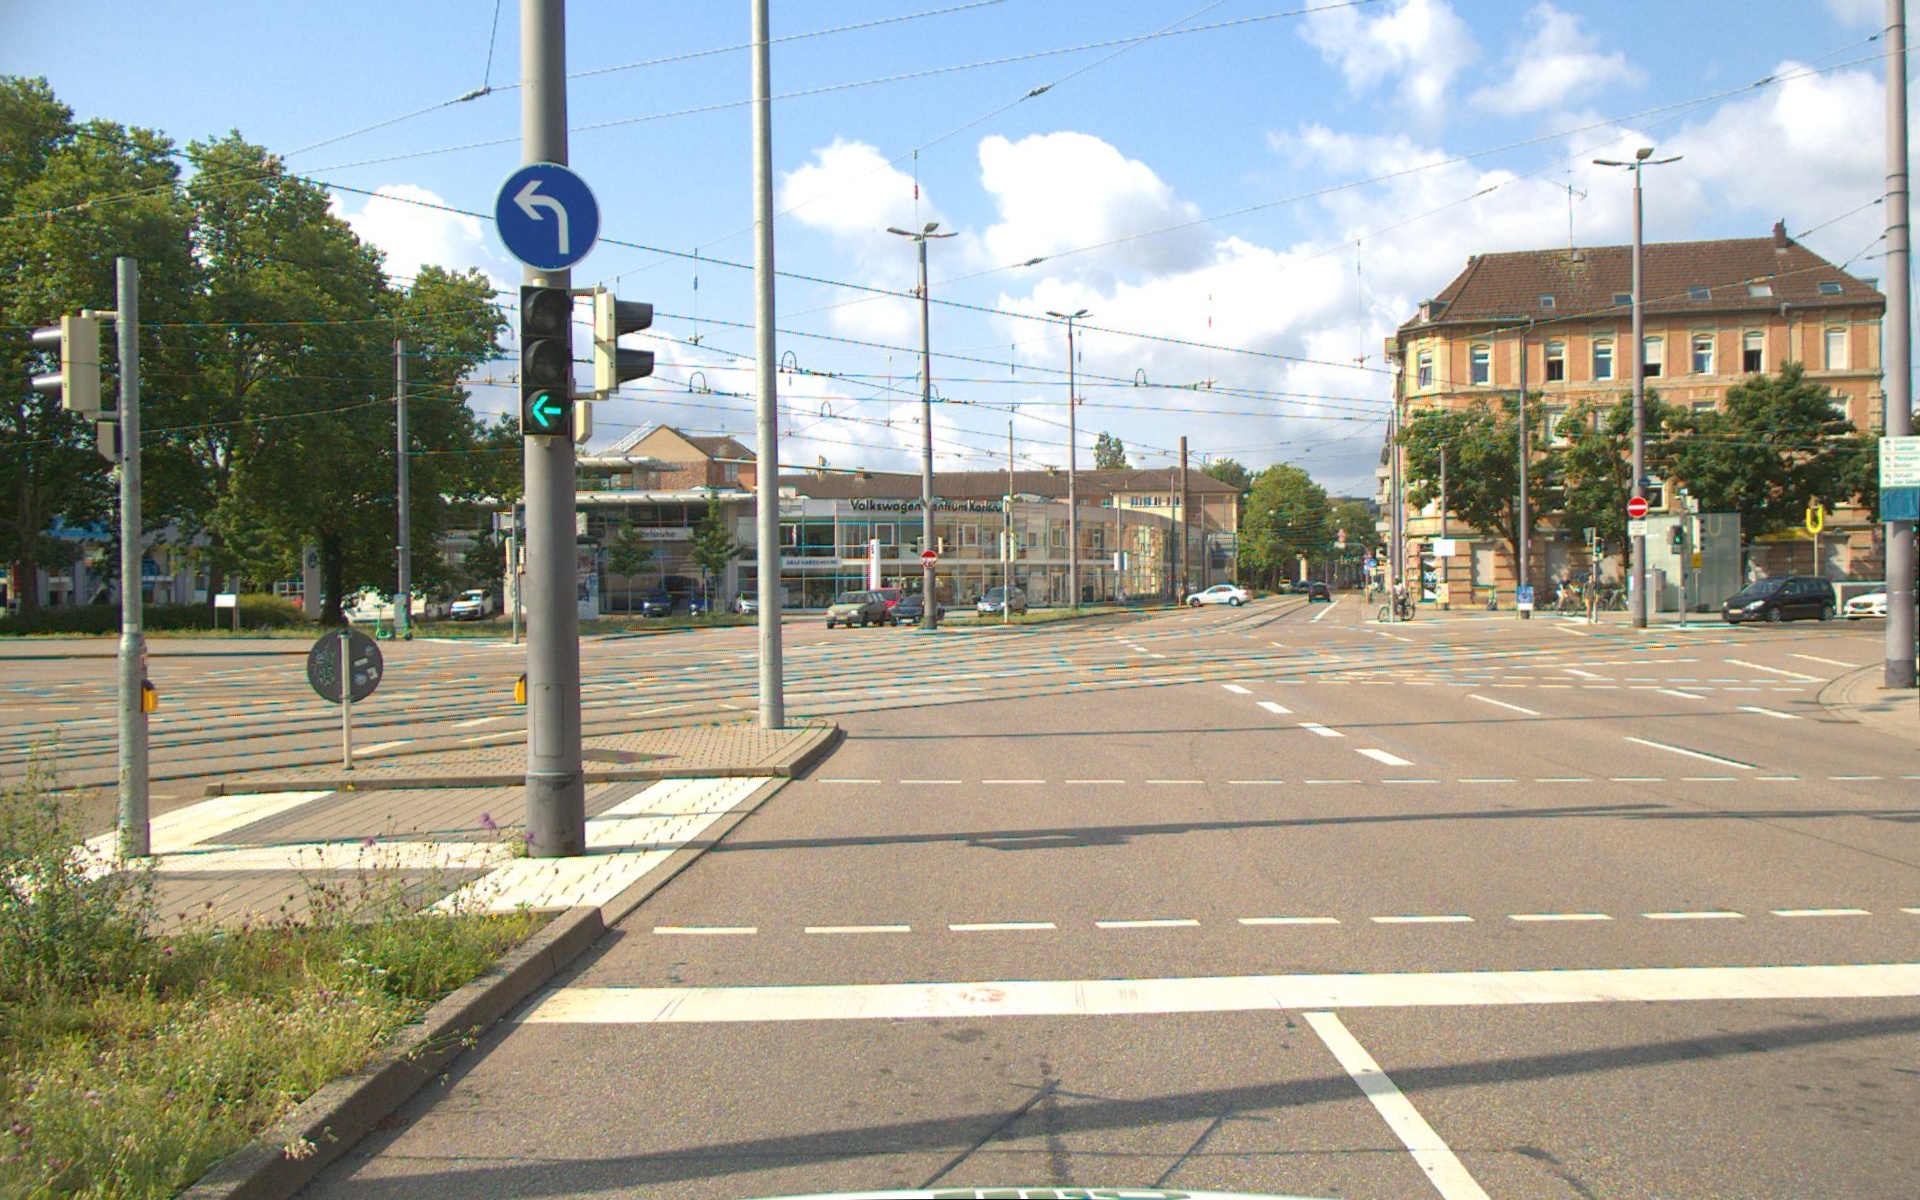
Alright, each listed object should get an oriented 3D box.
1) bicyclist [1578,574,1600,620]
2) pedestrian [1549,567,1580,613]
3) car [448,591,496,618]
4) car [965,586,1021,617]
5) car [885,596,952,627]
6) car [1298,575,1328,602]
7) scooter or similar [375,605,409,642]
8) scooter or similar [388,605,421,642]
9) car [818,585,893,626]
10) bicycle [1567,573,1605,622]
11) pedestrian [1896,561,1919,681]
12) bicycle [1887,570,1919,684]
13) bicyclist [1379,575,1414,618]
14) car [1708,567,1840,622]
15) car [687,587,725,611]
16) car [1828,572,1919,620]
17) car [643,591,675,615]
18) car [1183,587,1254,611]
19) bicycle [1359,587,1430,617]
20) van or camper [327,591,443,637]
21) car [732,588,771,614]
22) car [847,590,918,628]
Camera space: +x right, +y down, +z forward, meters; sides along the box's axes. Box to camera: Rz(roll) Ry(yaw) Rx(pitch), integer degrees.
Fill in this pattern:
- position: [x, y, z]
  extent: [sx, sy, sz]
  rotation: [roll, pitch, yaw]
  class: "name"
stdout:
- position: [23.701, -0.118, 62.342]
  extent: [0.561, 1.700, 0.655]
  rotation: [-1, 0, -4]
  class: "bicyclist"
- position: [24.949, -0.404, 68.228]
  extent: [0.850, 1.841, 0.884]
  rotation: [1, -1, -13]
  class: "pedestrian"
- position: [-30.326, 0.285, 102.909]
  extent: [2.027, 1.632, 3.996]
  rotation: [-1, 0, -5]
  class: "car"
- position: [1.793, 0.110, 88.656]
  extent: [1.952, 1.579, 4.002]
  rotation: [1, 0, 18]
  class: "car"
- position: [-1.599, 0.448, 65.714]
  extent: [1.587, 1.182, 4.003]
  rotation: [1, 0, 15]
  class: "car"
- position: [28.386, -0.936, 132.846]
  extent: [1.951, 2.049, 4.002]
  rotation: [-1, 0, 17]
  class: "car"
- position: [-18.889, 0.781, 55.019]
  extent: [0.375, 1.177, 0.923]
  rotation: [5, 1, 45]
  class: "scooter or similar"
- position: [-18.375, 0.789, 54.748]
  extent: [0.374, 1.177, 0.927]
  rotation: [5, 1, 33]
  class: "scooter or similar"
- position: [-4.119, 0.218, 65.808]
  extent: [1.782, 1.539, 4.003]
  rotation: [1, 0, 15]
  class: "car"
- position: [23.635, -0.100, 62.497]
  extent: [0.715, 1.808, 1.636]
  rotation: [-1, 0, -4]
  class: "bicycle"
- position: [15.485, 0.336, 26.264]
  extent: [0.972, 1.873, 0.995]
  rotation: [1, -1, 25]
  class: "pedestrian"
- position: [15.504, 0.436, 26.391]
  extent: [0.985, 1.755, 2.467]
  rotation: [1, 0, 24]
  class: "bicycle"
- position: [17.650, -0.140, 66.896]
  extent: [1.170, 1.687, 0.785]
  rotation: [-1, 0, -4]
  class: "bicyclist"
- position: [28.052, -0.180, 56.988]
  extent: [4.277, 1.770, 1.982]
  rotation: [1, 0, -28]
  class: "car"
- position: [-15.644, -0.068, 101.967]
  extent: [1.881, 1.470, 3.998]
  rotation: [-1, 0, -2]
  class: "car"
- position: [33.806, -0.164, 59.869]
  extent: [4.616, 1.623, 1.982]
  rotation: [-2, 1, -28]
  class: "car"
- position: [-18.589, 0.163, 102.279]
  extent: [1.885, 1.470, 3.990]
  rotation: [-1, 0, -10]
  class: "car"
- position: [17.264, -0.056, 110.506]
  extent: [4.379, 1.490, 1.780]
  rotation: [1, 0, 26]
  class: "car"
- position: [17.568, 0.078, 66.836]
  extent: [2.618, 1.191, 0.900]
  rotation: [-1, 0, -4]
  class: "bicycle"
- position: [-33.113, 0.796, 95.370]
  extent: [5.754, 2.512, 2.394]
  rotation: [1, 0, 3]
  class: "van or camper"
- position: [-13.110, 0.041, 104.113]
  extent: [1.880, 1.579, 4.000]
  rotation: [-1, 0, 1]
  class: "car"
- position: [-3.318, 0.392, 71.580]
  extent: [1.951, 1.545, 4.003]
  rotation: [1, 0, 15]
  class: "car"
